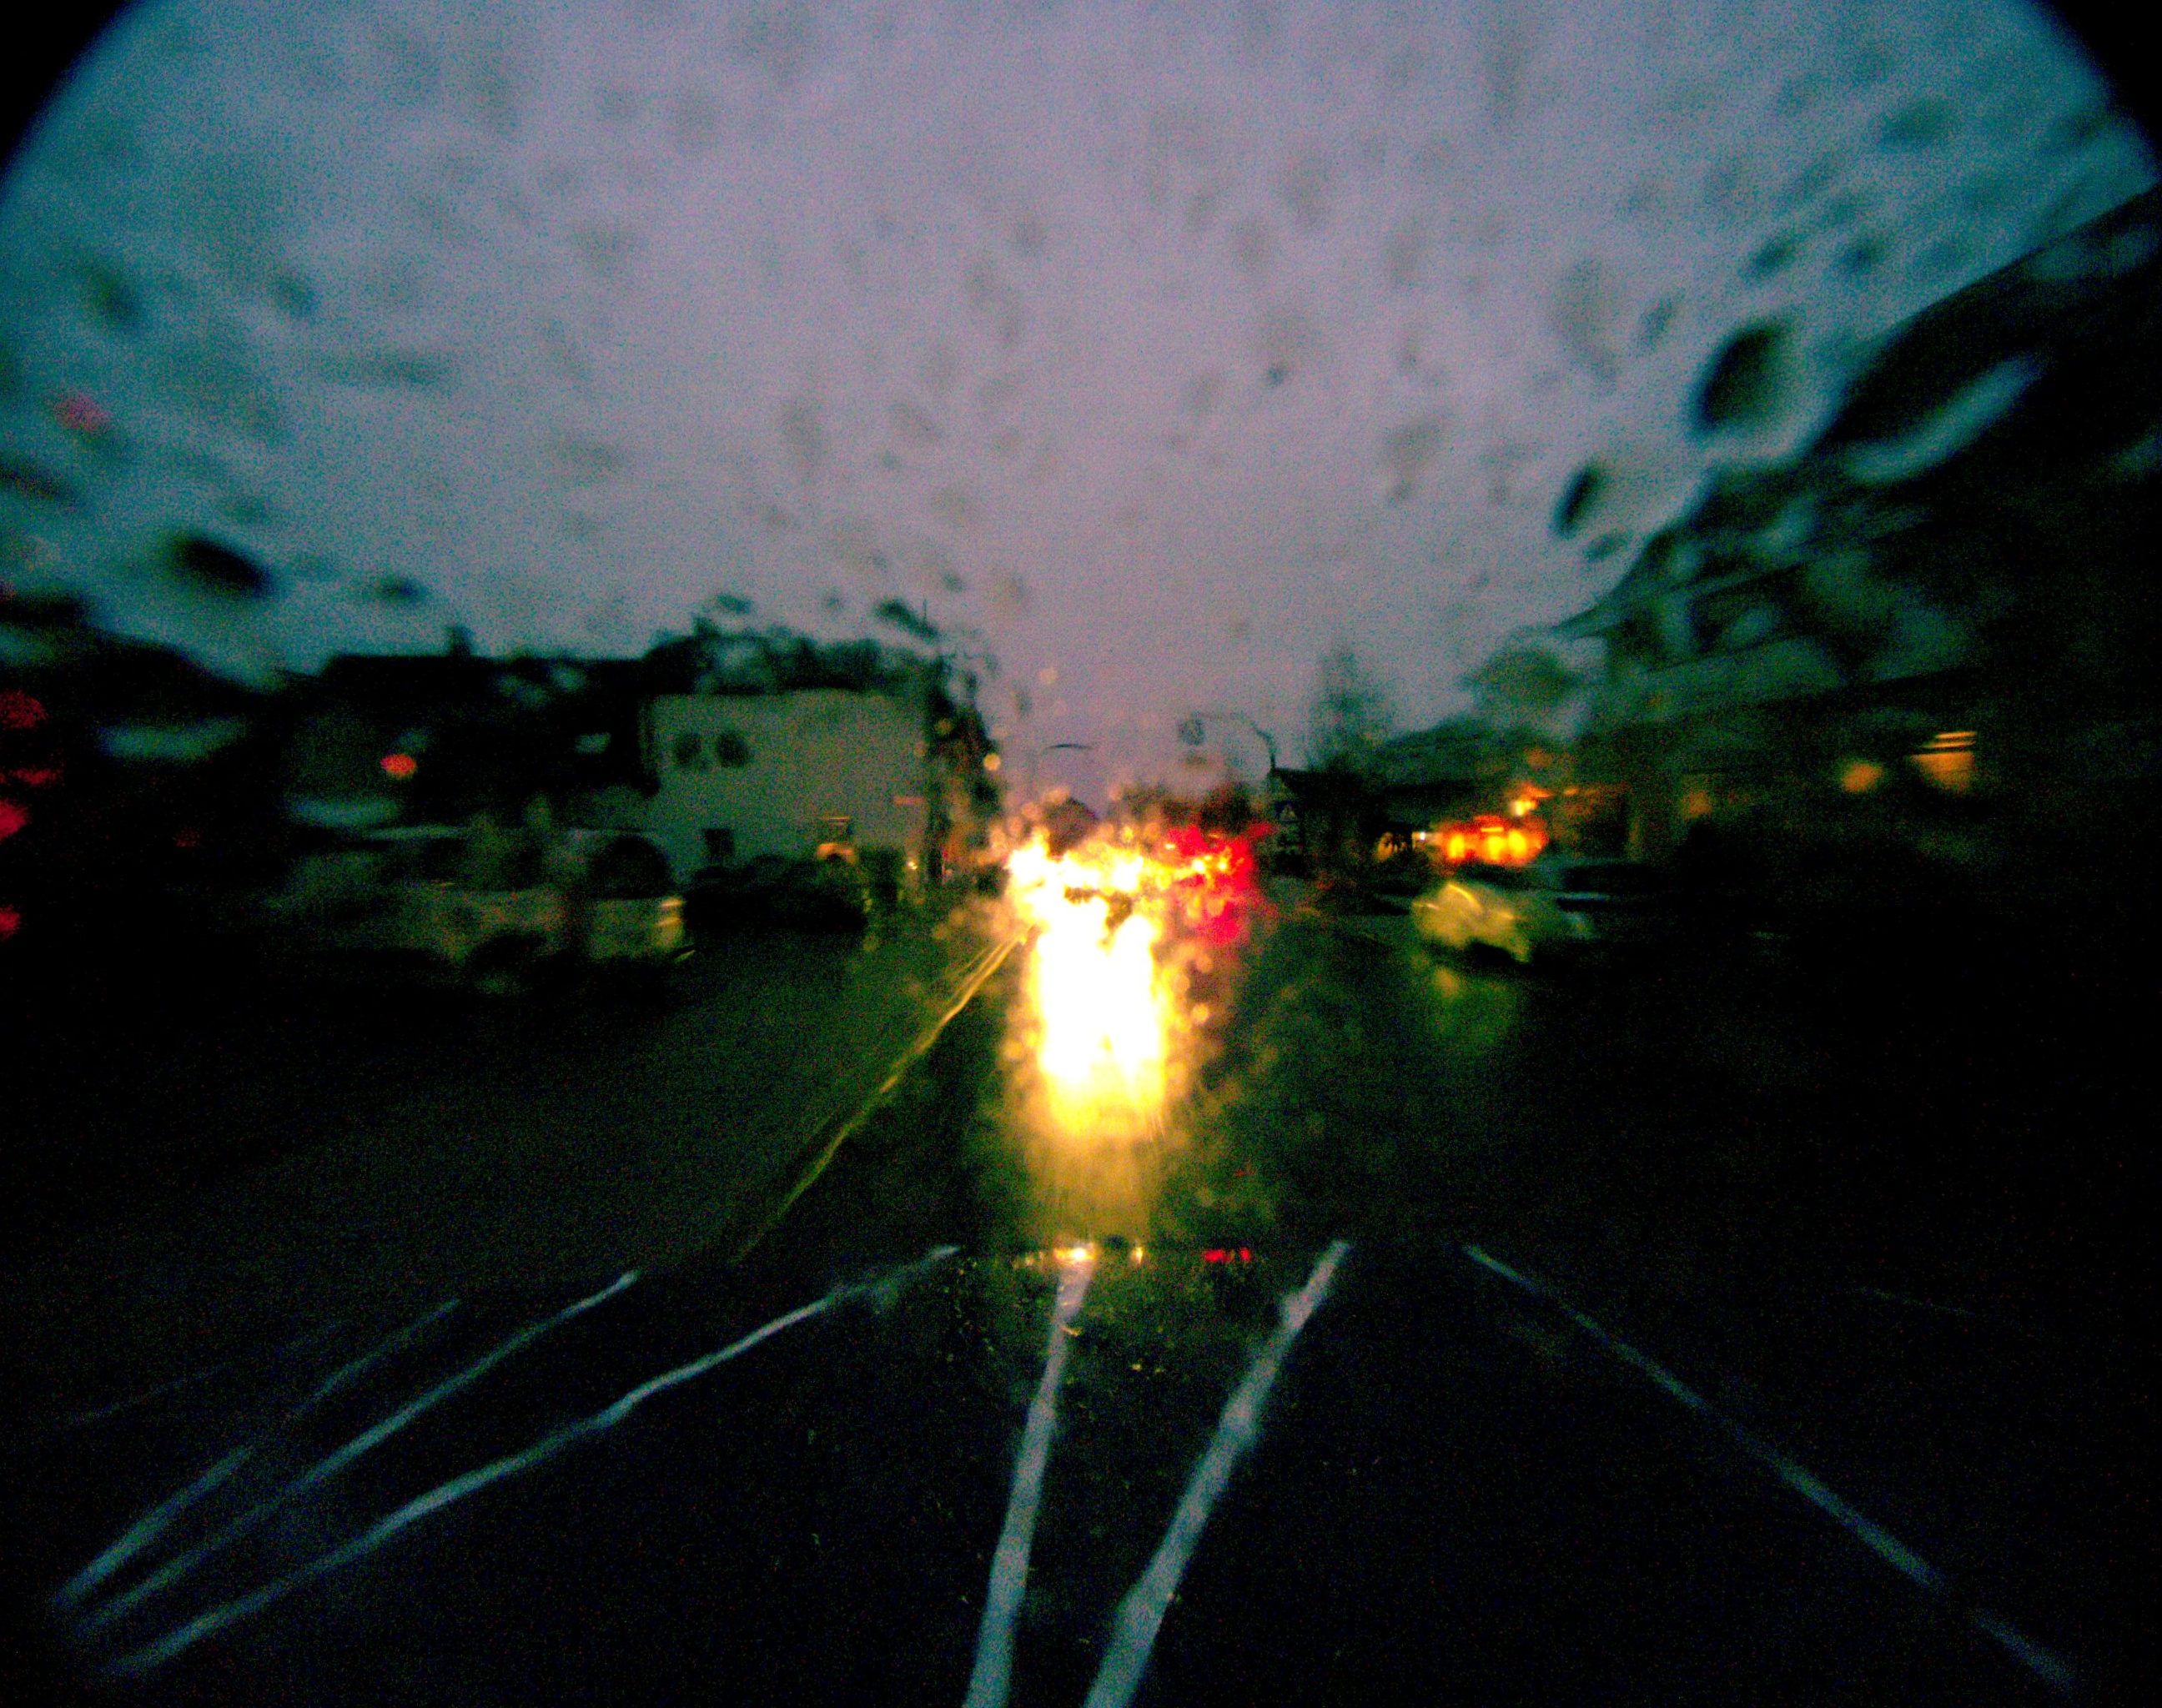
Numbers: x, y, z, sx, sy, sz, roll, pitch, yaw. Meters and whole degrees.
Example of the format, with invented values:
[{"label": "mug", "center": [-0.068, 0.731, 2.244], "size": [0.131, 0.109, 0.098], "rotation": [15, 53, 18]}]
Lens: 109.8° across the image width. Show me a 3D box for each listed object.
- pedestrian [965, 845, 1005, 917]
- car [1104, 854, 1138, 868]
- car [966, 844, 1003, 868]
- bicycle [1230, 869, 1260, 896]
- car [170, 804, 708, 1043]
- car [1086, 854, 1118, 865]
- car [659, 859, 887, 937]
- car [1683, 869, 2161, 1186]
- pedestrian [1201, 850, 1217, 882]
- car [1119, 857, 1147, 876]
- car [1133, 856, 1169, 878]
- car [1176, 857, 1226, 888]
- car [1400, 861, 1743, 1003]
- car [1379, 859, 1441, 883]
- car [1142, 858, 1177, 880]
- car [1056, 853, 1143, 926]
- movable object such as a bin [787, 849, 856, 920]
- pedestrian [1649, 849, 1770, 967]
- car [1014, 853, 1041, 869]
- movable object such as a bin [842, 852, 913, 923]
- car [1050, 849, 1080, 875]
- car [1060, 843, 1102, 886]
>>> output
[{"label": "pedestrian", "center": [-2.622, 0.718, 20.780], "size": [0.969, 1.878, 1.005], "rotation": [-2, 1, -4]}, {"label": "car", "center": [4.766, 0.821, 89.934], "size": [3.840, 1.537, 2.000], "rotation": [-2, 1, 4]}, {"label": "car", "center": [-6.679, 0.101, 53.106], "size": [1.935, 1.477, 4.695], "rotation": [-2, 1, 0]}, {"label": "bicycle", "center": [6.799, 1.179, 31.544], "size": [0.325, 1.055, 1.742], "rotation": [4, -3, -17]}, {"label": "car", "center": [-6.424, 0.594, 7.907], "size": [4.098, 2.037, 2.001], "rotation": [1, 0, 7]}, {"label": "car", "center": [2.619, 0.665, 95.461], "size": [3.996, 1.291, 2.000], "rotation": [-2, 0, 2]}, {"label": "car", "center": [-6.336, 0.867, 15.973], "size": [3.996, 1.478, 1.912], "rotation": [0, 1, 2]}, {"label": "car", "center": [6.462, 0.913, 4.379], "size": [1.999, 1.513, 4.977], "rotation": [-1, 0, -1]}, {"label": "pedestrian", "center": [8.231, 0.776, 48.849], "size": [0.902, 2.002, 0.791], "rotation": [-1, 0, 6]}, {"label": "car", "center": [4.375, 1.057, 64.990], "size": [1.840, 1.526, 4.137], "rotation": [-2, 0, -4]}, {"label": "car", "center": [5.263, 0.927, 57.465], "size": [1.881, 1.526, 3.669], "rotation": [-2, 0, -8]}, {"label": "car", "center": [6.407, 0.941, 40.928], "size": [1.789, 1.480, 4.181], "rotation": [-2, 1, -3]}, {"label": "car", "center": [6.674, 0.922, 11.145], "size": [1.999, 1.549, 4.620], "rotation": [-2, 0, -1]}, {"label": "car", "center": [22.875, 1.171, 52.988], "size": [2.000, 1.554, 3.996], "rotation": [1, 0, -11]}, {"label": "car", "center": [5.353, 1.001, 52.075], "size": [1.699, 1.423, 4.376], "rotation": [-2, 0, -3]}, {"label": "car", "center": [0.390, 0.875, 20.837], "size": [1.999, 1.720, 3.998], "rotation": [-2, 0, -4]}, {"label": "movable object such as a bin", "center": [-6.292, 0.726, 18.509], "size": [1.289, 1.634, 1.185], "rotation": [2, 0, -4]}, {"label": "pedestrian", "center": [9.375, 0.773, 11.380], "size": [0.829, 1.649, 1.097], "rotation": [-2, 1, -6]}, {"label": "car", "center": [-5.549, 0.695, 78.447], "size": [2.001, 1.506, 3.995], "rotation": [-2, 0, -15]}, {"label": "movable object such as a bin", "center": [-4.924, 0.785, 18.508], "size": [1.397, 1.634, 1.261], "rotation": [2, 0, -4]}, {"label": "car", "center": [-1.240, 0.575, 56.679], "size": [1.999, 1.844, 3.998], "rotation": [-2, 0, -3]}, {"label": "car", "center": [-0.026, 0.507, 38.801], "size": [1.999, 2.002, 3.999], "rotation": [-2, 0, -1]}]
